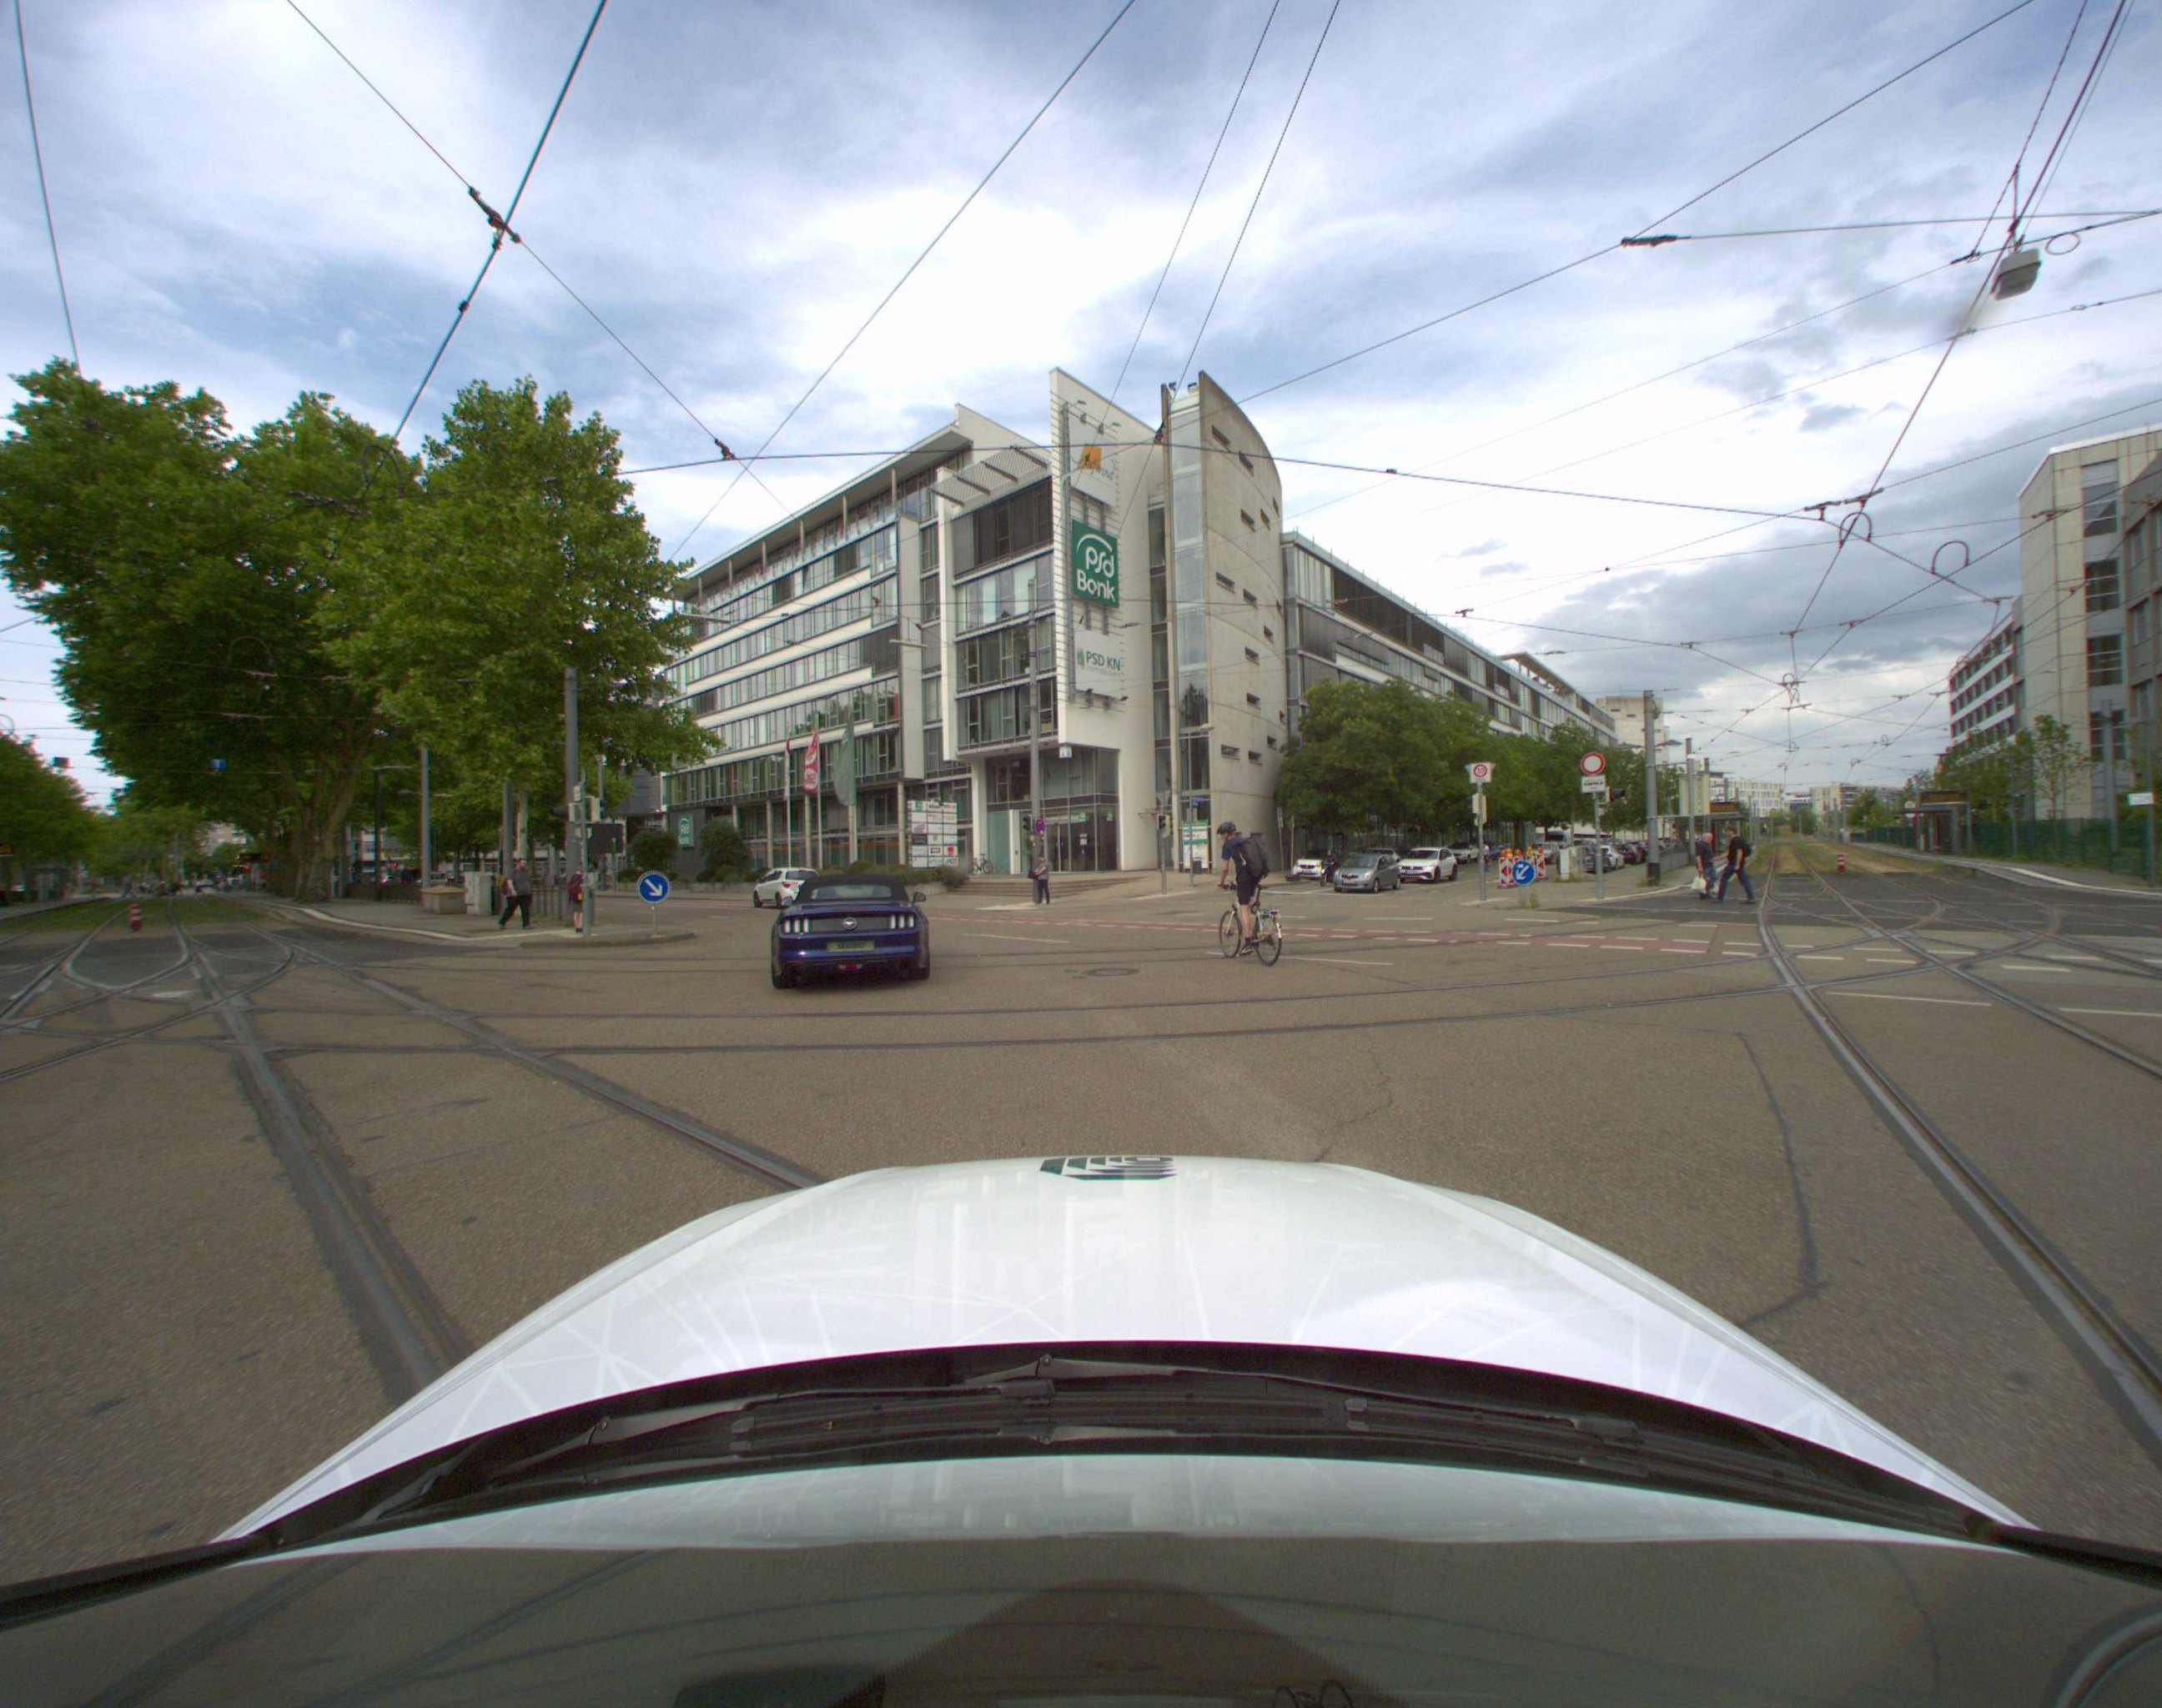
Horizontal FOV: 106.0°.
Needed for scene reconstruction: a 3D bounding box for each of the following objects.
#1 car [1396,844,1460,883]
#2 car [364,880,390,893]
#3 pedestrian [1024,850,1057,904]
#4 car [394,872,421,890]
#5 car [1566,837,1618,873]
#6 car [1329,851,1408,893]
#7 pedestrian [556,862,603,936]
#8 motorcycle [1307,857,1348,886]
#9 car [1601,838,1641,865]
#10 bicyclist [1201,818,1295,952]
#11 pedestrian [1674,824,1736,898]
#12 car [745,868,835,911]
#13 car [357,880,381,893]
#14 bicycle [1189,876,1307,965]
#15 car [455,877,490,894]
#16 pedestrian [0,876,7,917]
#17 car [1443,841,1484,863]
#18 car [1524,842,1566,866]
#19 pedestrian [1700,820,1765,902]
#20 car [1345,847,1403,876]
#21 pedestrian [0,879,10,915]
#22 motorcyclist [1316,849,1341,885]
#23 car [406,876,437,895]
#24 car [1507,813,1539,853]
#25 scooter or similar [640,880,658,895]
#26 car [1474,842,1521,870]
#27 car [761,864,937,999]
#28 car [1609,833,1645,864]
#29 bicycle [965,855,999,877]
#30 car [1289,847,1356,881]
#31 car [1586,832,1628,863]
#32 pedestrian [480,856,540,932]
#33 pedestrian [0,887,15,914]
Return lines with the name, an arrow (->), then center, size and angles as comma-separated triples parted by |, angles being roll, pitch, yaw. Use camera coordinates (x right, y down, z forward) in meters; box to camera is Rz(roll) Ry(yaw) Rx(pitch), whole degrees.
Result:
car -> 16.571, 0.403, 38.777 | 1.698, 1.660, 4.159 | 0, 1, 40
car -> -84.730, 3.903, 98.009 | 4.122, 1.521, 1.852 | -2, 0, 43
pedestrian -> -1.453, 0.817, 28.955 | 0.770, 1.865, 0.826 | -2, -1, -41
car -> -76.694, 3.062, 92.679 | 4.122, 1.903, 1.852 | -2, -1, 43
car -> 25.473, 0.024, 40.505 | 1.861, 1.628, 4.113 | -2, 0, 36
car -> 11.644, 0.663, 32.827 | 1.652, 1.506, 4.261 | 0, 1, 40
pedestrian -> -11.956, 1.052, 19.397 | 0.770, 1.671, 0.927 | -2, -1, -41
motorcycle -> 11.167, 0.784, 36.878 | 0.817, 1.199, 2.518 | -1, 0, 40
car -> 33.971, -0.188, 51.159 | 1.850, 1.606, 4.240 | -2, 0, 36
bicyclist -> 2.362, 0.416, 11.630 | 0.797, 1.785, 1.227 | -2, 0, -15
pedestrian -> 16.166, 0.182, 21.106 | 0.905, 1.855, 0.981 | -2, -1, -34
car -> -10.965, 1.297, 30.526 | 1.851, 1.439, 4.138 | -2, 0, -40
car -> -89.423, 4.089, 102.276 | 4.122, 1.521, 1.852 | -2, 0, 43
bicycle -> 2.346, 0.900, 11.769 | 0.801, 1.086, 2.121 | -2, 0, -14
car -> -59.008, 3.028, 78.941 | 4.270, 1.582, 1.898 | -2, -1, 42
pedestrian -> -50.946, 1.994, 38.084 | 0.775, 1.887, 0.822 | -2, -1, 39
car -> 29.025, -0.156, 61.729 | 1.967, 1.556, 4.541 | 0, 1, 37
car -> 33.477, -0.040, 58.695 | 1.885, 1.585, 4.208 | 0, 1, 40
pedestrian -> 15.629, 0.175, 19.538 | 0.907, 1.898, 1.076 | -2, -1, -45
car -> 17.212, 0.383, 47.758 | 1.812, 1.556, 4.243 | 0, 1, 40
pedestrian -> -61.069, 2.418, 45.872 | 0.775, 1.993, 0.822 | -2, -1, 39
motorcyclist -> 11.233, 0.582, 36.947 | 0.811, 1.616, 0.888 | -1, 0, 40
car -> -67.773, 3.236, 83.675 | 4.077, 1.903, 1.908 | -2, 0, 43
car -> 41.456, -1.938, 76.377 | 1.967, 3.636, 4.541 | 0, 1, 37
scooter or similar -> -29.000, 2.231, 54.604 | 0.593, 0.950, 1.837 | -2, -1, -43
car -> 25.734, 0.084, 50.239 | 1.698, 1.660, 4.159 | 0, 1, 40
car -> -3.086, 0.880, 11.275 | 1.878, 1.404, 4.262 | -2, 0, -13
car -> 37.088, -0.416, 55.292 | 1.768, 1.987, 4.147 | -2, 0, 36
bicycle -> -5.585, 0.678, 46.126 | 0.579, 1.177, 2.128 | 0, 0, 38
car -> 12.533, 0.474, 42.148 | 1.812, 1.556, 4.243 | 0, 1, 40
car -> 28.980, -0.373, 44.832 | 1.688, 1.606, 4.105 | -2, 0, 36
pedestrian -> -14.400, 1.007, 20.547 | 0.836, 1.855, 0.844 | -2, -1, 16
pedestrian -> -65.039, 2.792, 49.036 | 0.840, 1.600, 1.004 | -2, -1, 39
